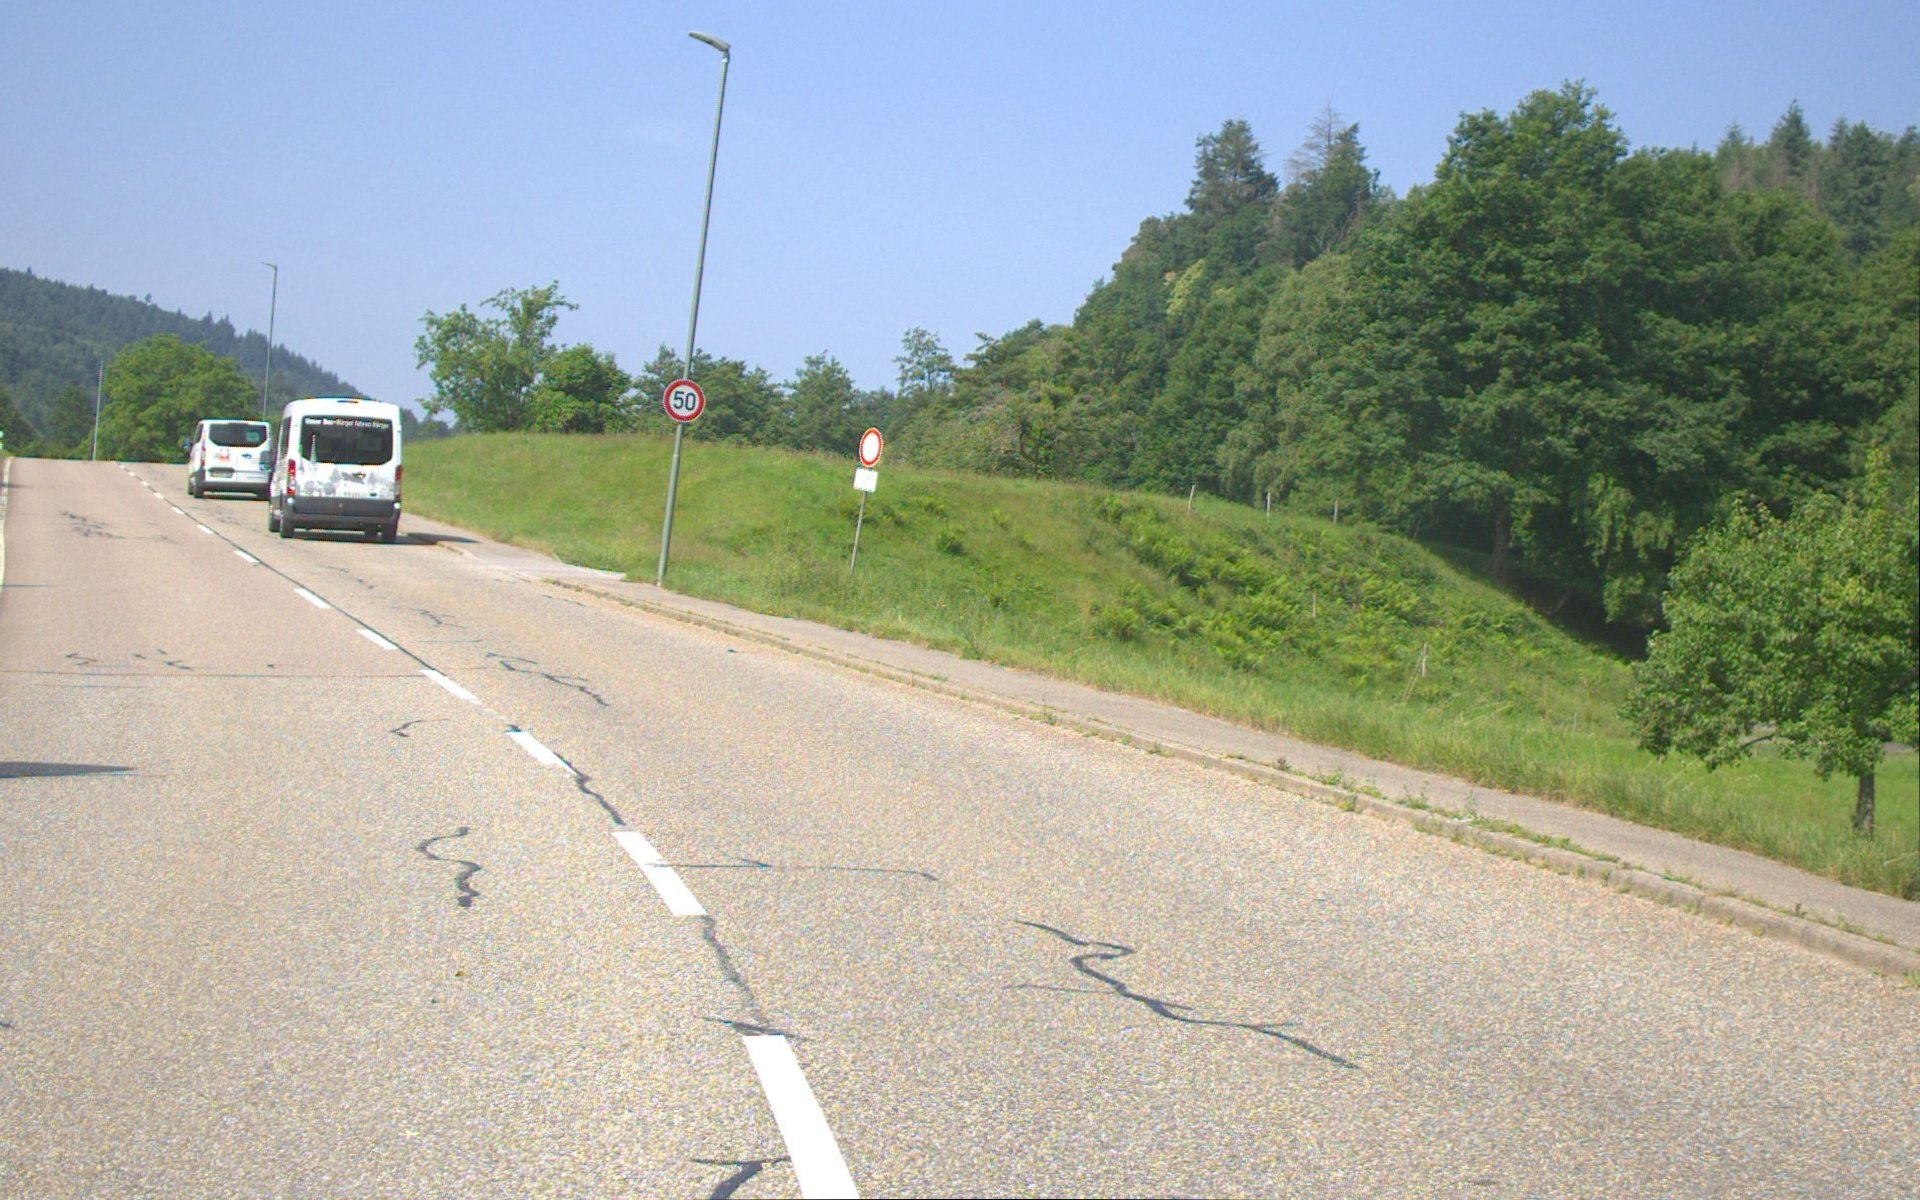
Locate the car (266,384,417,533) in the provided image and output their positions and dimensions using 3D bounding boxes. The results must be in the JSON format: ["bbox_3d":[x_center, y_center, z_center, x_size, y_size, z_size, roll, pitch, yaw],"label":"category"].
[{"bbox_3d":[-11.074,-2.465,61.294,2.222,2.517,4.986,0,1,-15],"label":"car"}]

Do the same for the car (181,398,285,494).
[{"bbox_3d":[-18.437,-3.860,86.984,2.222,2.279,4.986,0,1,-16],"label":"car"}]
